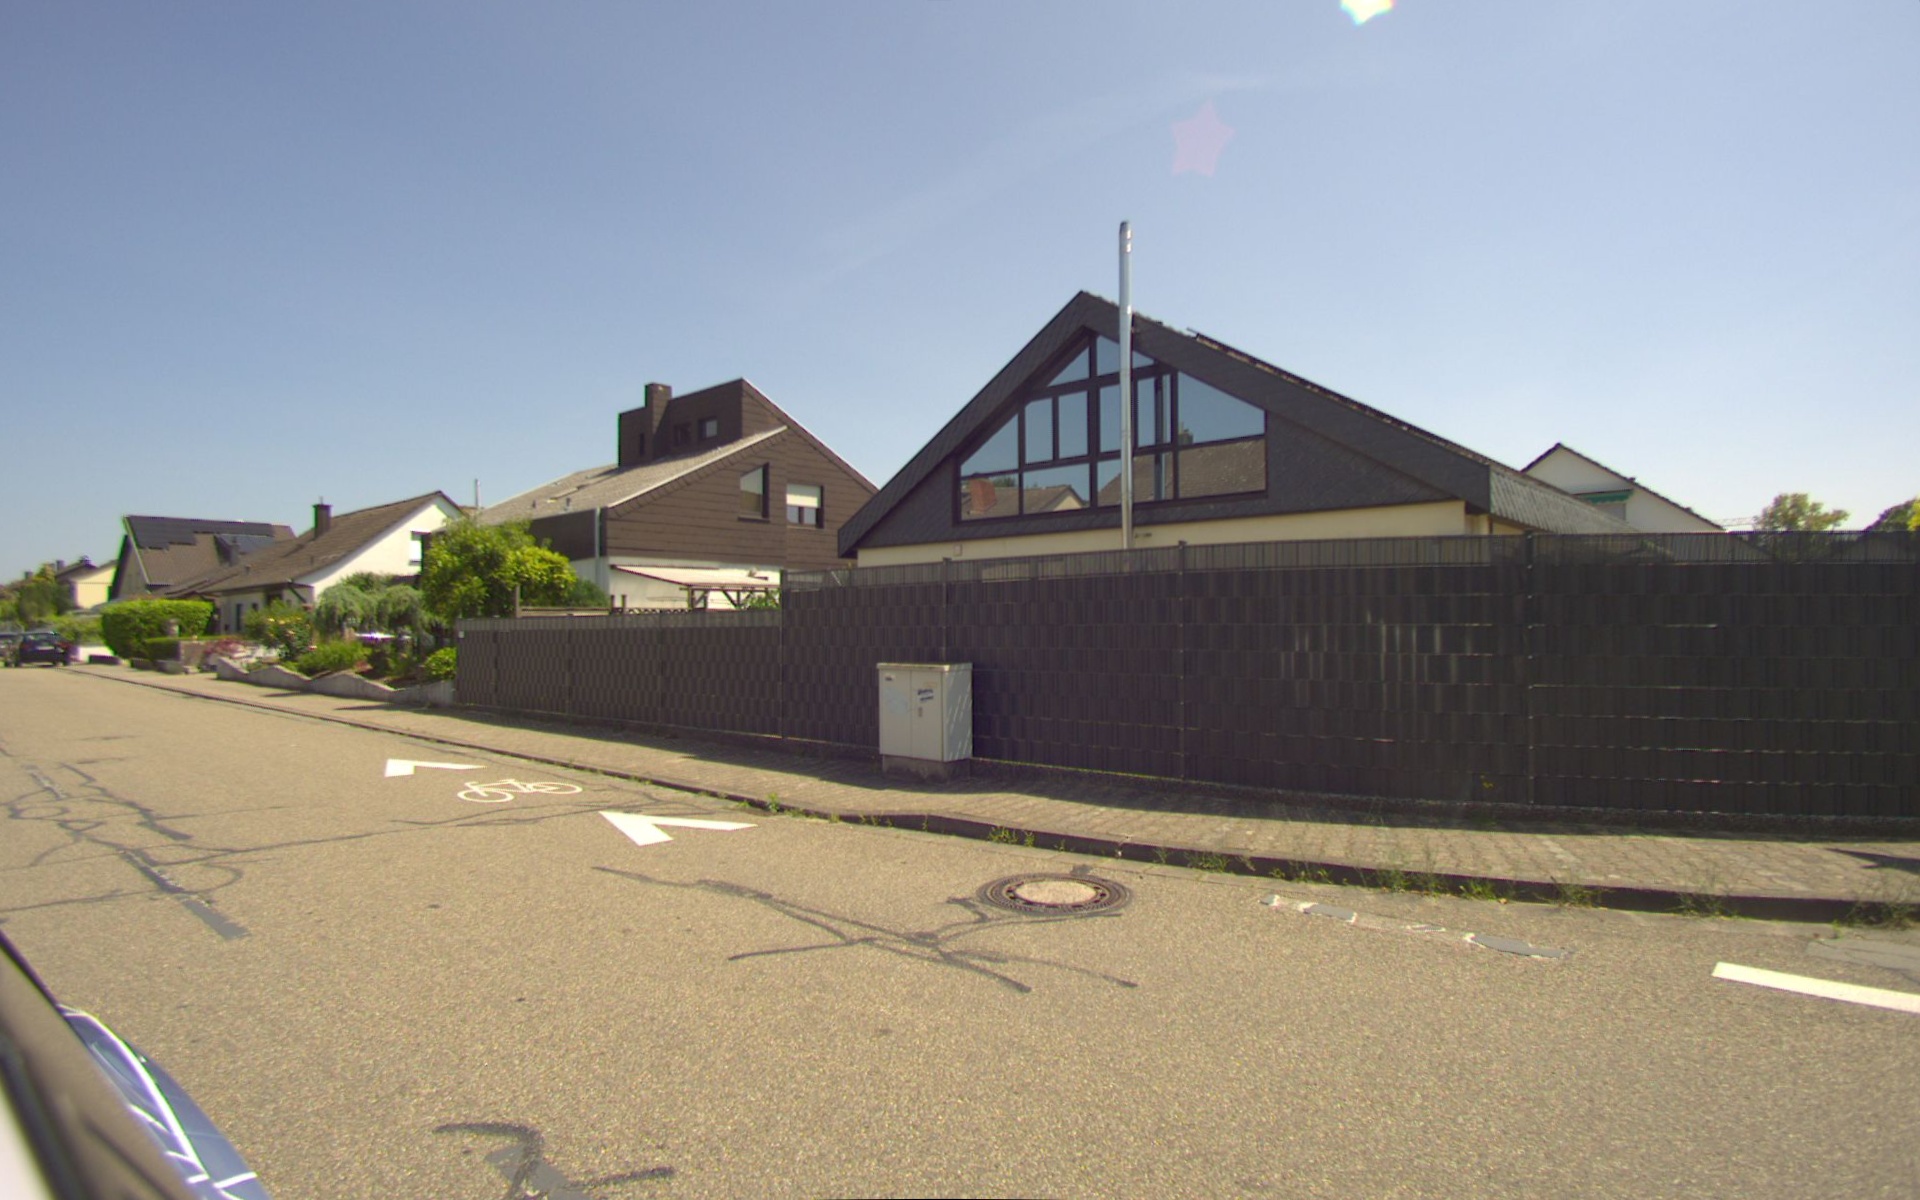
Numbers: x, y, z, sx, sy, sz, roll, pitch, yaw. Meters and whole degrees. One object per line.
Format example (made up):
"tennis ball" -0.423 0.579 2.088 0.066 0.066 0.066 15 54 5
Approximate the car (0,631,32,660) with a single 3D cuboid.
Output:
"car" -49.004 2.317 51.875 1.971 1.409 4.002 0 -1 -45

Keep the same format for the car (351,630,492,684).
"car" -18.661 1.926 35.192 1.901 1.697 3.946 -2 -1 40

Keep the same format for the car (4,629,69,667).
"car" -37.229 1.905 40.765 1.783 1.409 4.002 0 -1 -45
